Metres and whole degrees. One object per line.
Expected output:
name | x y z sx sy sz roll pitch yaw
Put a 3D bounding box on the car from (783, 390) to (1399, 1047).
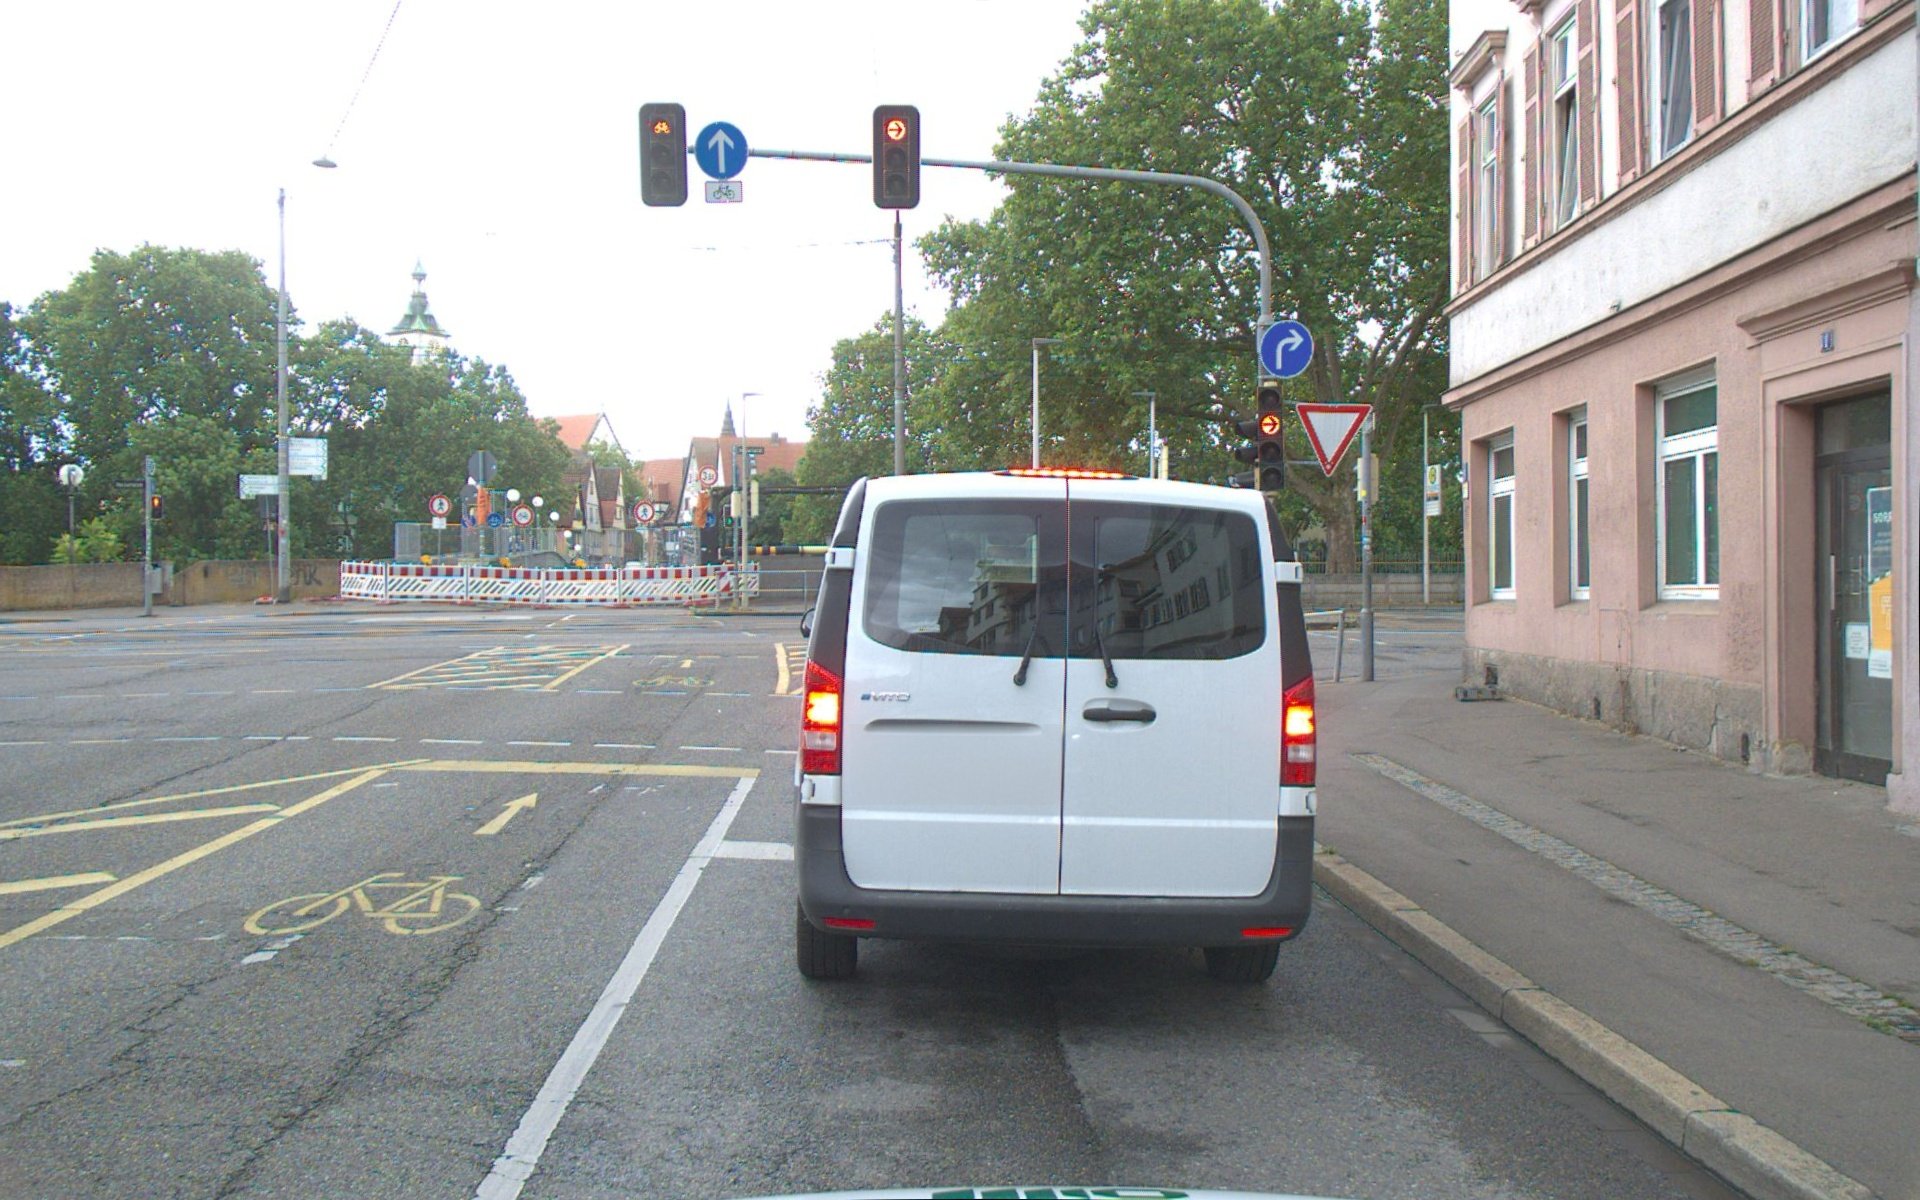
car | 0.380 0.315 7.566 1.911 2.048 4.698 1 2 -1
